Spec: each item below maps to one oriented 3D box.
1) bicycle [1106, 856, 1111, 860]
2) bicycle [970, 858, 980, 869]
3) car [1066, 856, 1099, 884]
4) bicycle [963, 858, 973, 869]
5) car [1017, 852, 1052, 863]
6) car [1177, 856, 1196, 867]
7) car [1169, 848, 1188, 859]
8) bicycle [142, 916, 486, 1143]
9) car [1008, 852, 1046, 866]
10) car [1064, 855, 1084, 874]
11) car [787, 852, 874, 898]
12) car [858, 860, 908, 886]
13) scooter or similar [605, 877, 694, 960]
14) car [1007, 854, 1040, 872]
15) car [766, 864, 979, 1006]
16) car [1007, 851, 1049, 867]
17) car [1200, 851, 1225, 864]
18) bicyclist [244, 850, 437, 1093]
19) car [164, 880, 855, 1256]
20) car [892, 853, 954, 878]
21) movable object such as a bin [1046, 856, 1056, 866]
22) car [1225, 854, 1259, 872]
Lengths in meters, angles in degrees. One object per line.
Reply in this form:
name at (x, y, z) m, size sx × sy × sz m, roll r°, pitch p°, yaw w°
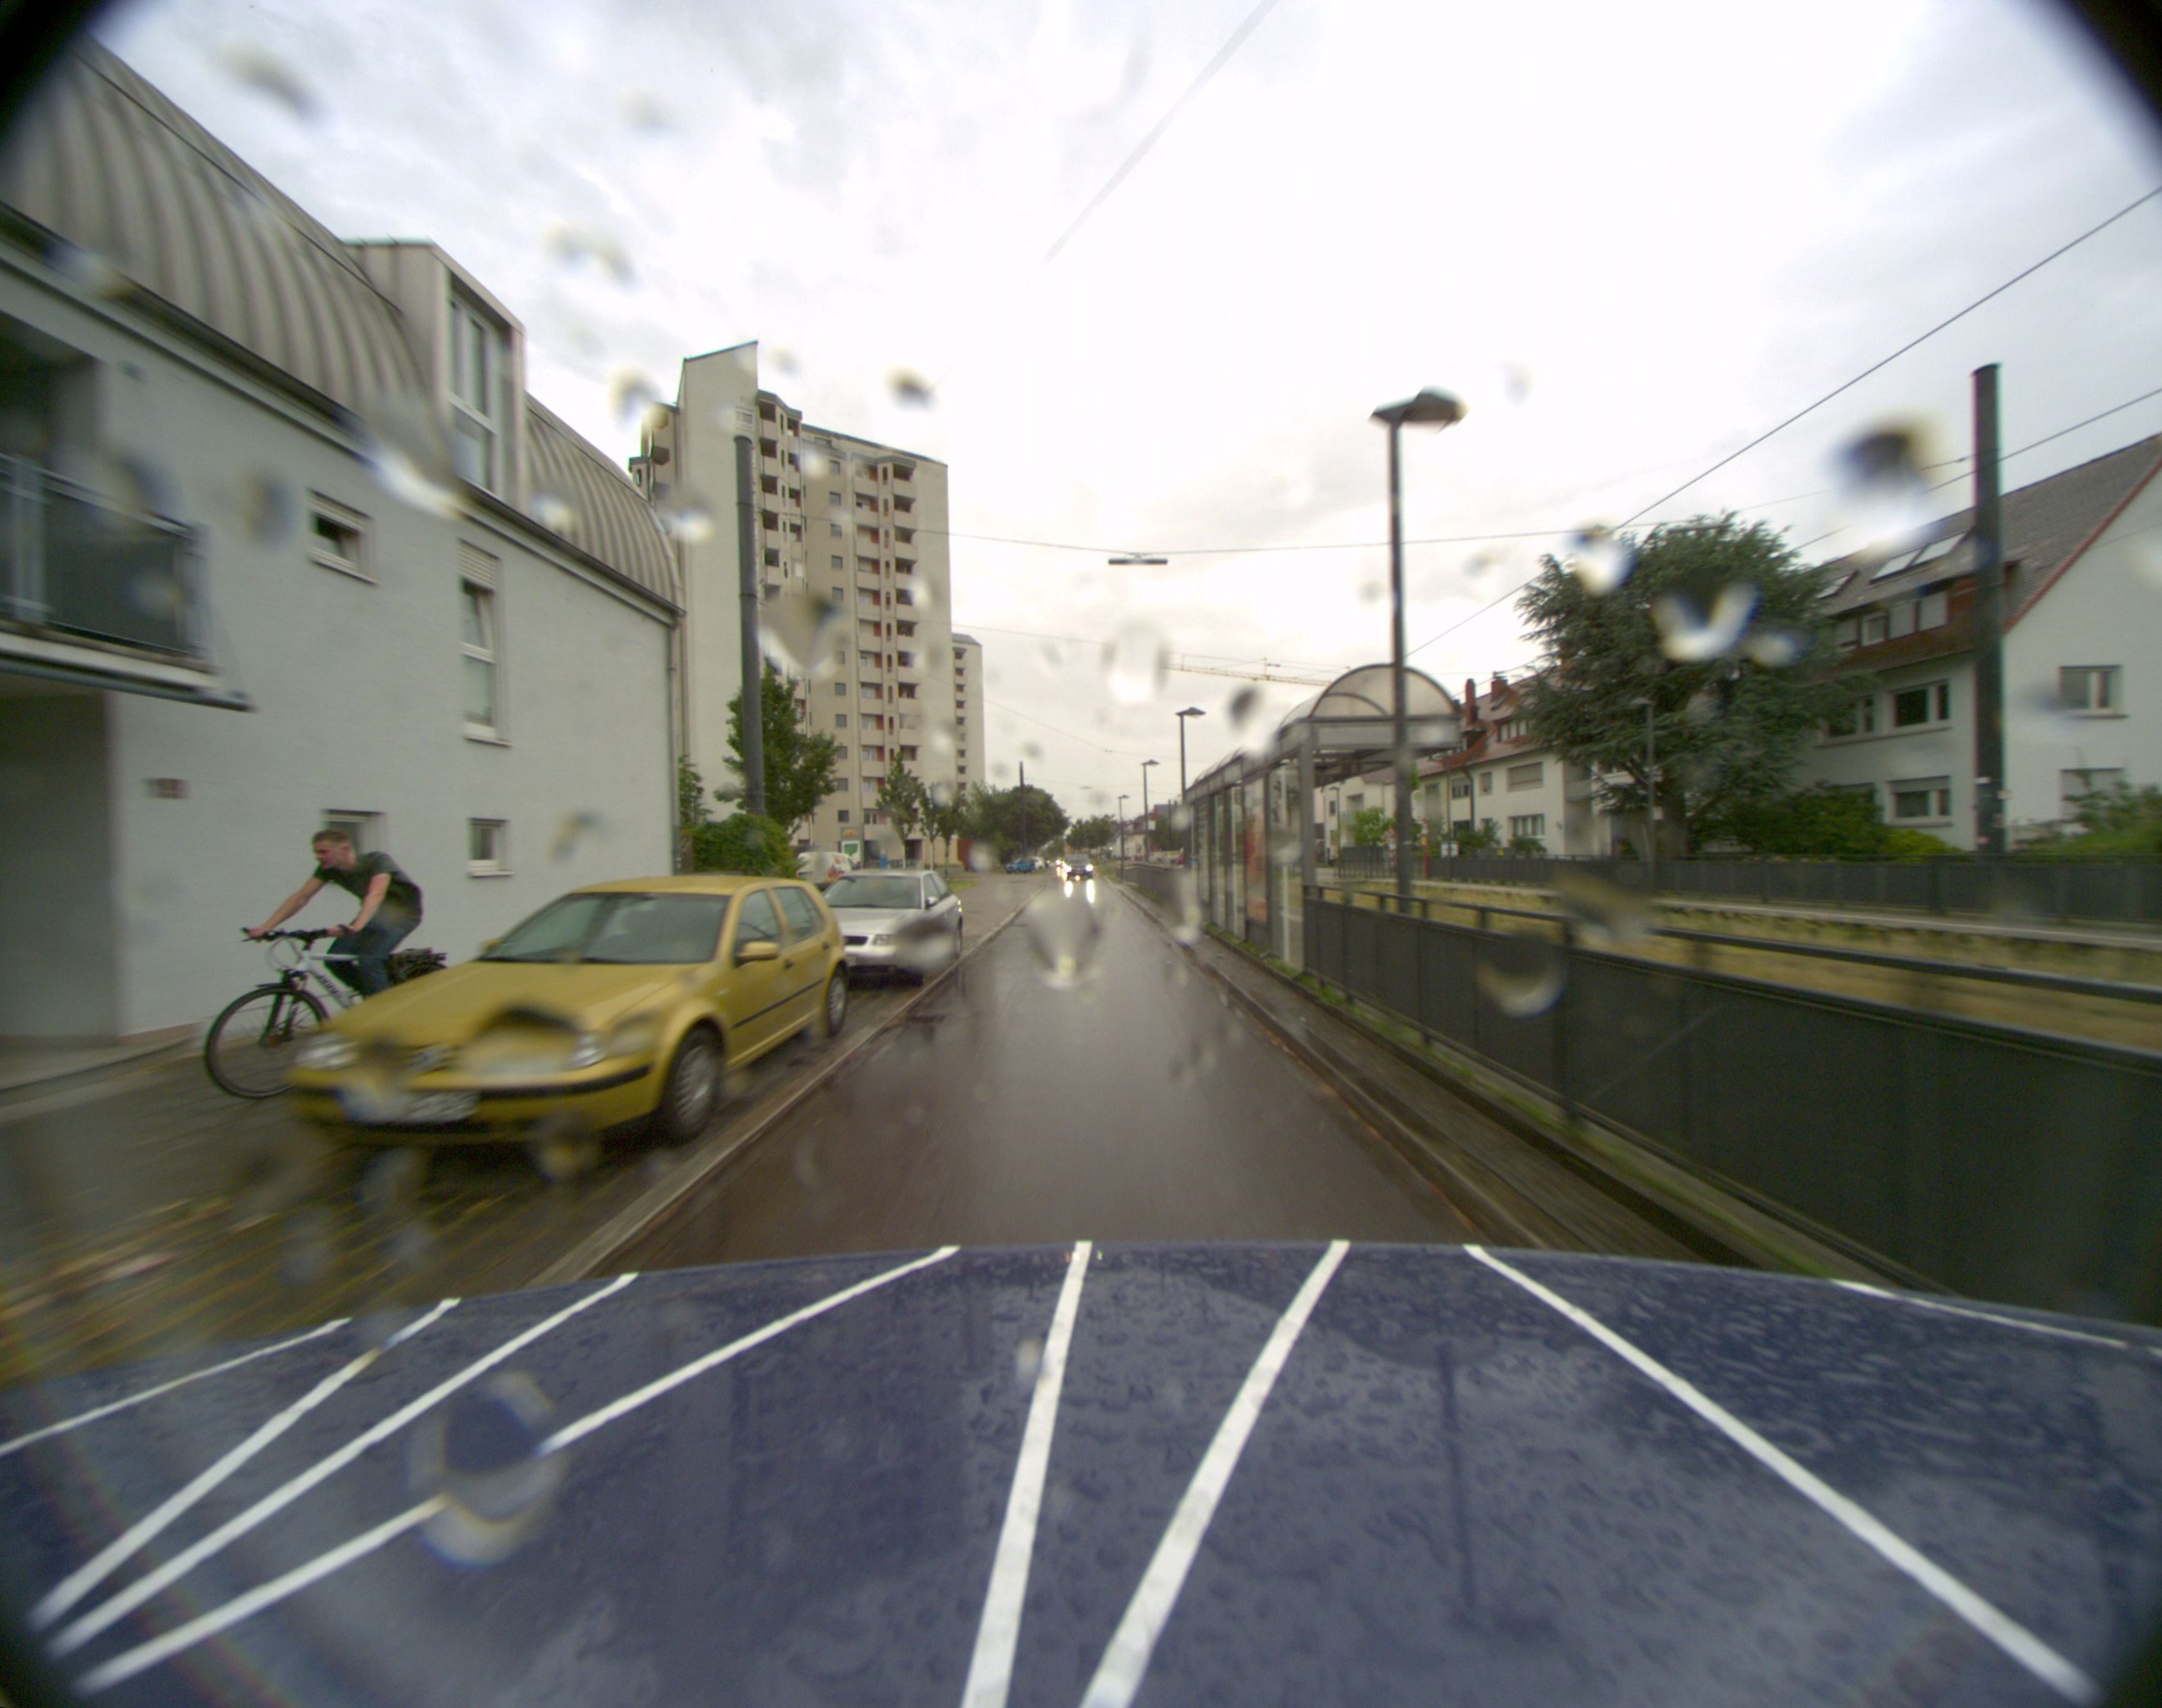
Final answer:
bicycle at (7.678, 1.102, 213.723) m, size 0.937 × 1.037 × 3.433 m, roll -1°, pitch 0°, yaw -4°
bicycle at (-10.600, 0.934, 76.081) m, size 0.663 × 1.000 × 2.057 m, roll -3°, pitch 1°, yaw -1°
car at (0.049, 1.042, 51.219) m, size 1.999 × 1.611 × 3.998 m, roll -3°, pitch 1°, yaw -2°
bicycle at (-11.326, 0.913, 76.071) m, size 0.663 × 1.000 × 2.057 m, roll -3°, pitch 1°, yaw -1°
car at (-6.181, 0.490, 101.668) m, size 4.470 × 1.419 × 1.680 m, roll 2°, pitch -1°, yaw -35°
car at (14.882, 1.058, 107.536) m, size 1.999 × 1.365 × 3.842 m, roll -3°, pitch 1°, yaw -3°
car at (14.465, -0.058, 113.002) m, size 1.999 × 1.401 × 4.174 m, roll -3°, pitch -1°, yaw -3°
bicycle at (-5.116, 1.075, 5.297) m, size 0.538 × 1.087 × 1.947 m, roll -3°, pitch 1°, yaw -7°
car at (-6.706, 0.667, 94.990) m, size 4.471 × 1.661 × 1.808 m, roll 2°, pitch -1°, yaw -39°
car at (-0.763, 1.093, 81.292) m, size 1.999 × 1.762 × 3.999 m, roll -3°, pitch 1°, yaw -1°
car at (-10.856, 0.863, 33.317) m, size 1.968 × 1.773 × 4.898 m, roll -3°, pitch 0°, yaw 2°
car at (-12.287, 1.138, 46.898) m, size 2.003 × 1.433 × 3.991 m, roll -3°, pitch 1°, yaw -29°
scooter or similar at (-6.318, 0.914, 11.197) m, size 0.334 × 1.079 × 1.396 m, roll -2°, pitch 1°, yaw 6°
car at (-5.349, 0.833, 71.085) m, size 2.570 × 1.539 × 1.598 m, roll -2°, pitch 1°, yaw -41°
car at (-2.653, 0.939, 10.829) m, size 1.654 × 1.397 × 4.648 m, roll 2°, pitch 1°, yaw 1°
car at (-5.583, 0.551, 80.374) m, size 4.195 × 1.538 × 1.760 m, roll 2°, pitch -1°, yaw -41°
car at (14.964, 0.425, 86.517) m, size 1.842 × 1.418 × 4.173 m, roll -3°, pitch 0°, yaw -3°
bicyclist at (-5.138, 0.758, 5.328) m, size 0.535 × 1.551 × 0.772 m, roll -3°, pitch 1°, yaw -8°
car at (-3.055, 0.998, 5.198) m, size 1.811 × 1.397 × 3.793 m, roll 2°, pitch 1°, yaw 1°
car at (-11.885, 0.869, 57.054) m, size 4.119 × 1.607 × 1.811 m, roll -3°, pitch 0°, yaw -31°
movable object such as a bin at (-4.657, 1.062, 117.957) m, size 1.165 × 1.553 × 1.372 m, roll -3°, pitch 1°, yaw -25°
car at (14.202, 0.738, 67.265) m, size 1.999 × 1.405 × 3.656 m, roll -3°, pitch 1°, yaw -3°
